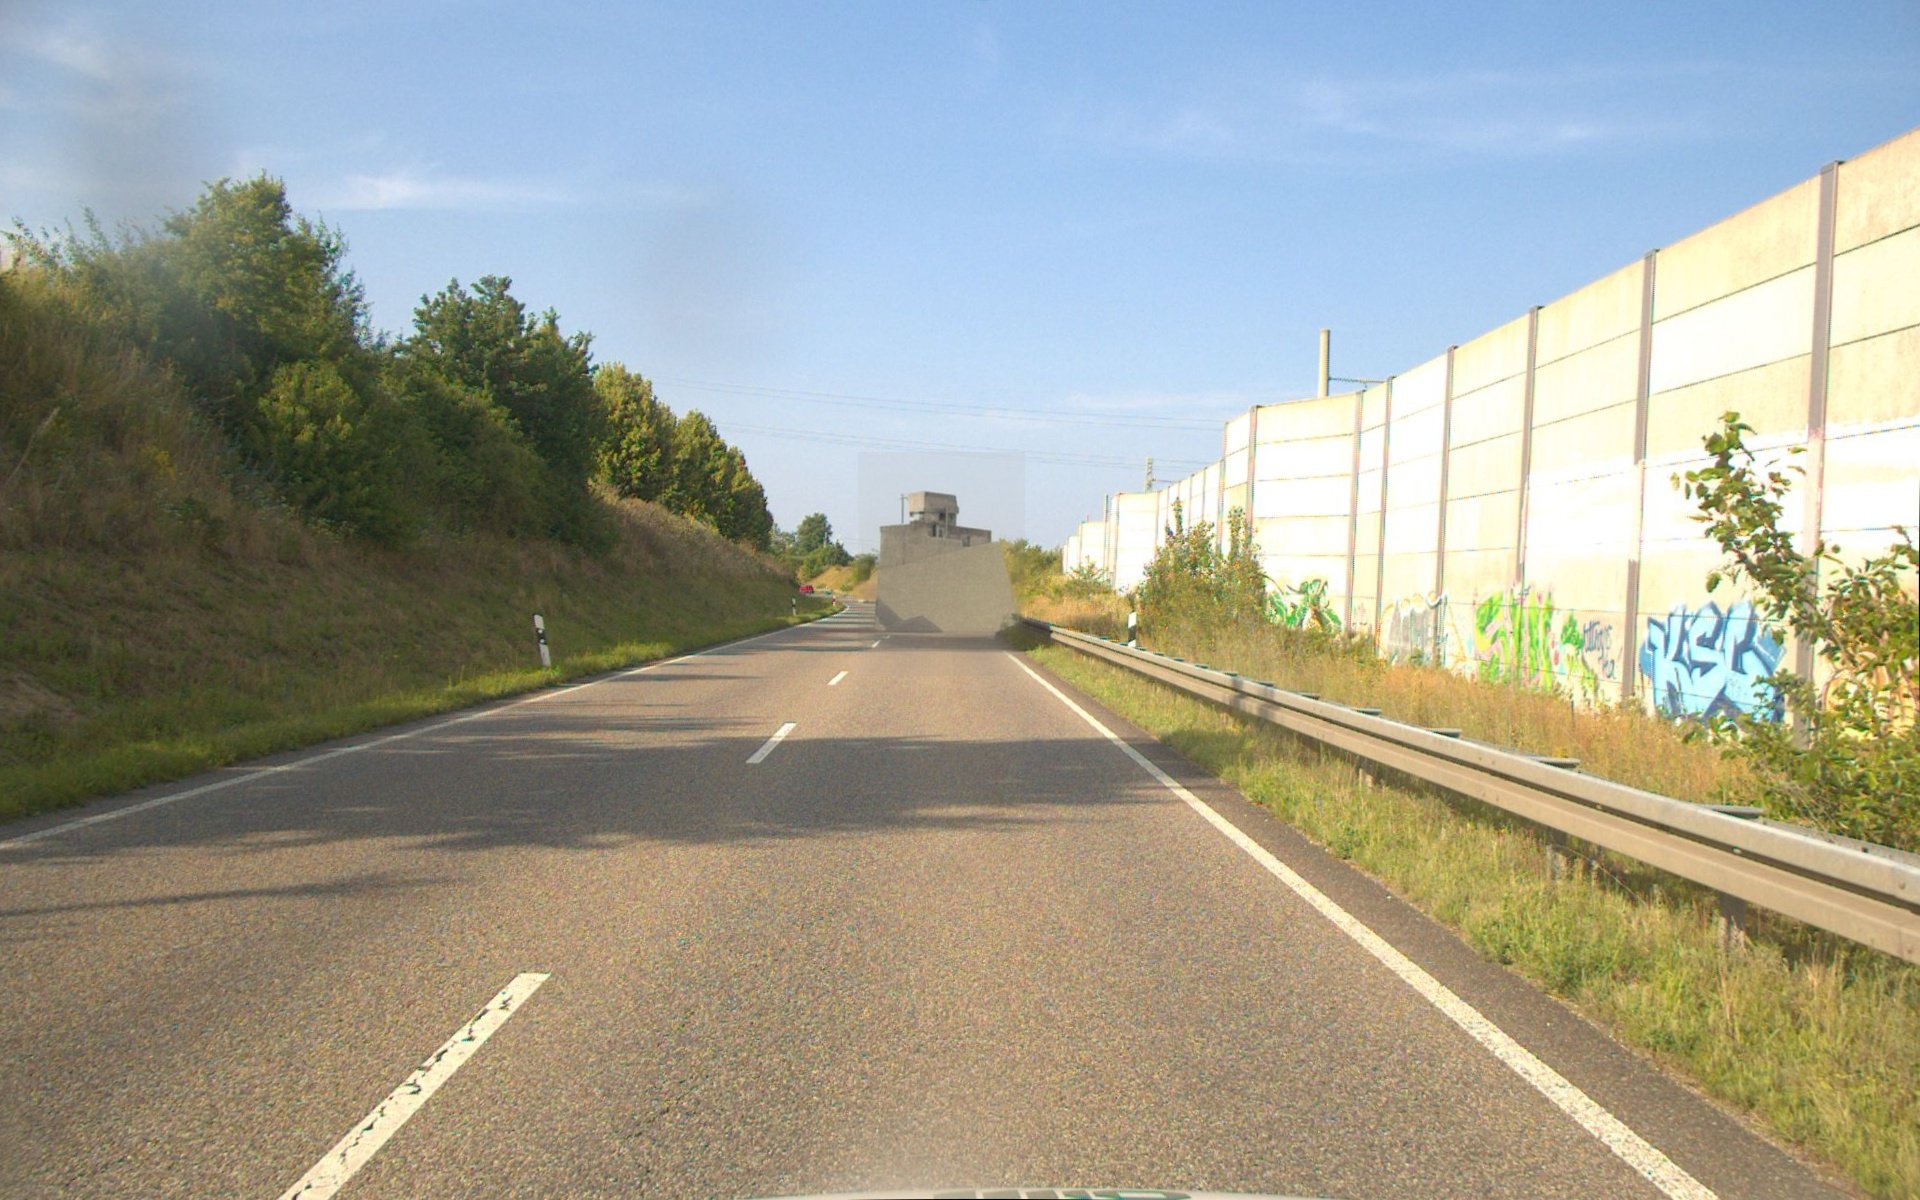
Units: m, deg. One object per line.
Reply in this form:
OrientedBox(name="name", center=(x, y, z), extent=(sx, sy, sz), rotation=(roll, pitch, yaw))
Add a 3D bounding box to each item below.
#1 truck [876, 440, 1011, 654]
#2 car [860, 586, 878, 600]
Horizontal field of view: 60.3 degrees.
OrientedBox(name="truck", center=(-0.673, -1.385, 46.545), extent=(3.225, 5.178, 12.032), rotation=(1, 1, -3))
OrientedBox(name="car", center=(-11.288, -0.869, 205.165), extent=(2.005, 1.609, 4.359), rotation=(1, 0, -1))
